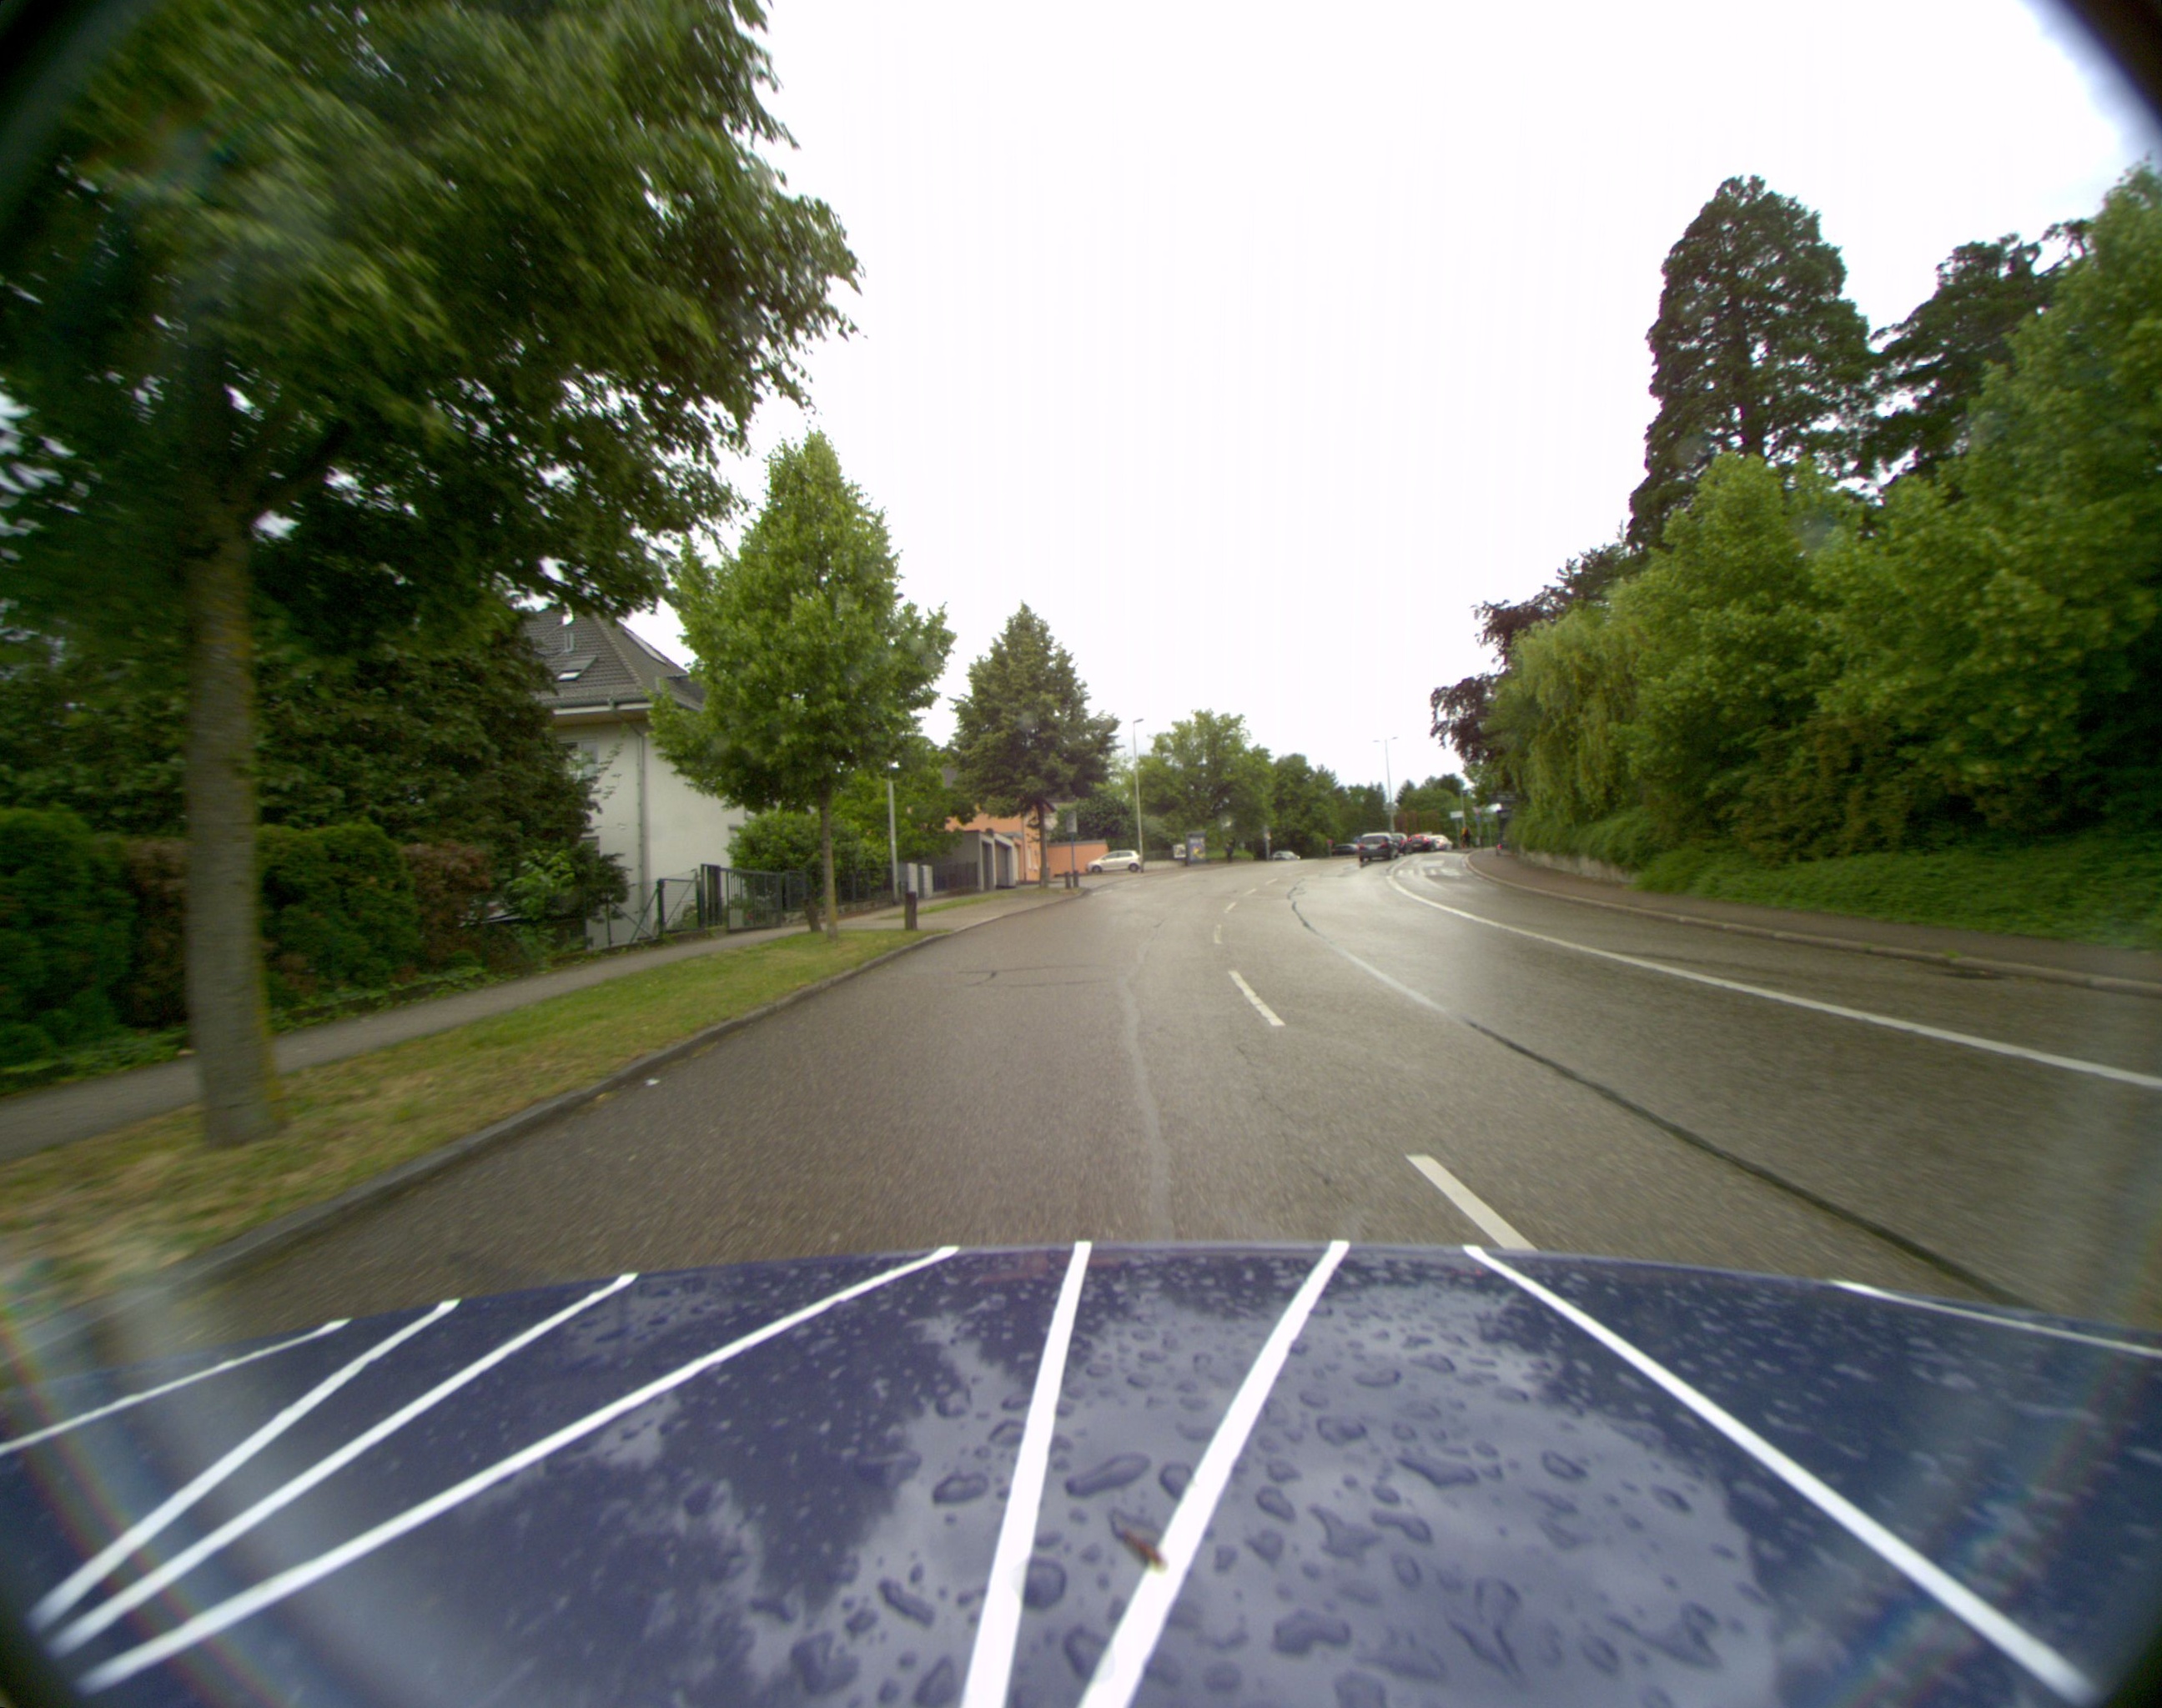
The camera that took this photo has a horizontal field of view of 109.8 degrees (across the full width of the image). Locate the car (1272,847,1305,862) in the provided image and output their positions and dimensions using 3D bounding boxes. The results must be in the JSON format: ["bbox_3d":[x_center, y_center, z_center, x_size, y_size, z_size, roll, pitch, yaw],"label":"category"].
[{"bbox_3d":[24.034,0.076,88.000,1.863,1.406,4.383,-3,-2,-11],"label":"car"}]

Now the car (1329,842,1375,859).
[{"bbox_3d":[27.027,-0.326,75.896,1.865,1.406,4.381,-3,-2,-19],"label":"car"}]

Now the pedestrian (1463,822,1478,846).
[{"bbox_3d":[29.991,-1.536,58.494,0.703,1.796,0.827,-3,0,45],"label":"pedestrian"}]

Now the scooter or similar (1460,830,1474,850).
[{"bbox_3d":[29.823,-1.106,58.658,0.509,1.507,1.321,-3,0,45],"label":"scooter or similar"}]

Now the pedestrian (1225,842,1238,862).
[{"bbox_3d":[13.081,-0.168,66.126,0.926,1.645,1.099,-3,0,16],"label":"pedestrian"}]

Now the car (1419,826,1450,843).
[{"bbox_3d":[31.753,-1.731,68.161,1.829,1.393,4.829,-3,0,33],"label":"car"}]

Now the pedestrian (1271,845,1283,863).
[{"bbox_3d":[19.236,0.012,74.682,0.820,1.645,0.724,-3,0,-26],"label":"pedestrian"}]

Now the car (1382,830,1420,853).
[{"bbox_3d":[22.343,-0.880,53.008,1.723,1.455,4.385,-3,-1,32],"label":"car"}]

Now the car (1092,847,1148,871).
[{"bbox_3d":[2.794,0.373,54.172,3.866,1.557,1.728,-1,0,6],"label":"car"}]

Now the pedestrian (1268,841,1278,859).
[{"bbox_3d":[18.599,-0.419,73.626,0.724,1.722,0.820,-3,0,26],"label":"pedestrian"}]

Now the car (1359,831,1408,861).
[{"bbox_3d":[18.307,-0.495,45.904,1.811,1.568,4.694,-3,1,33],"label":"car"}]
